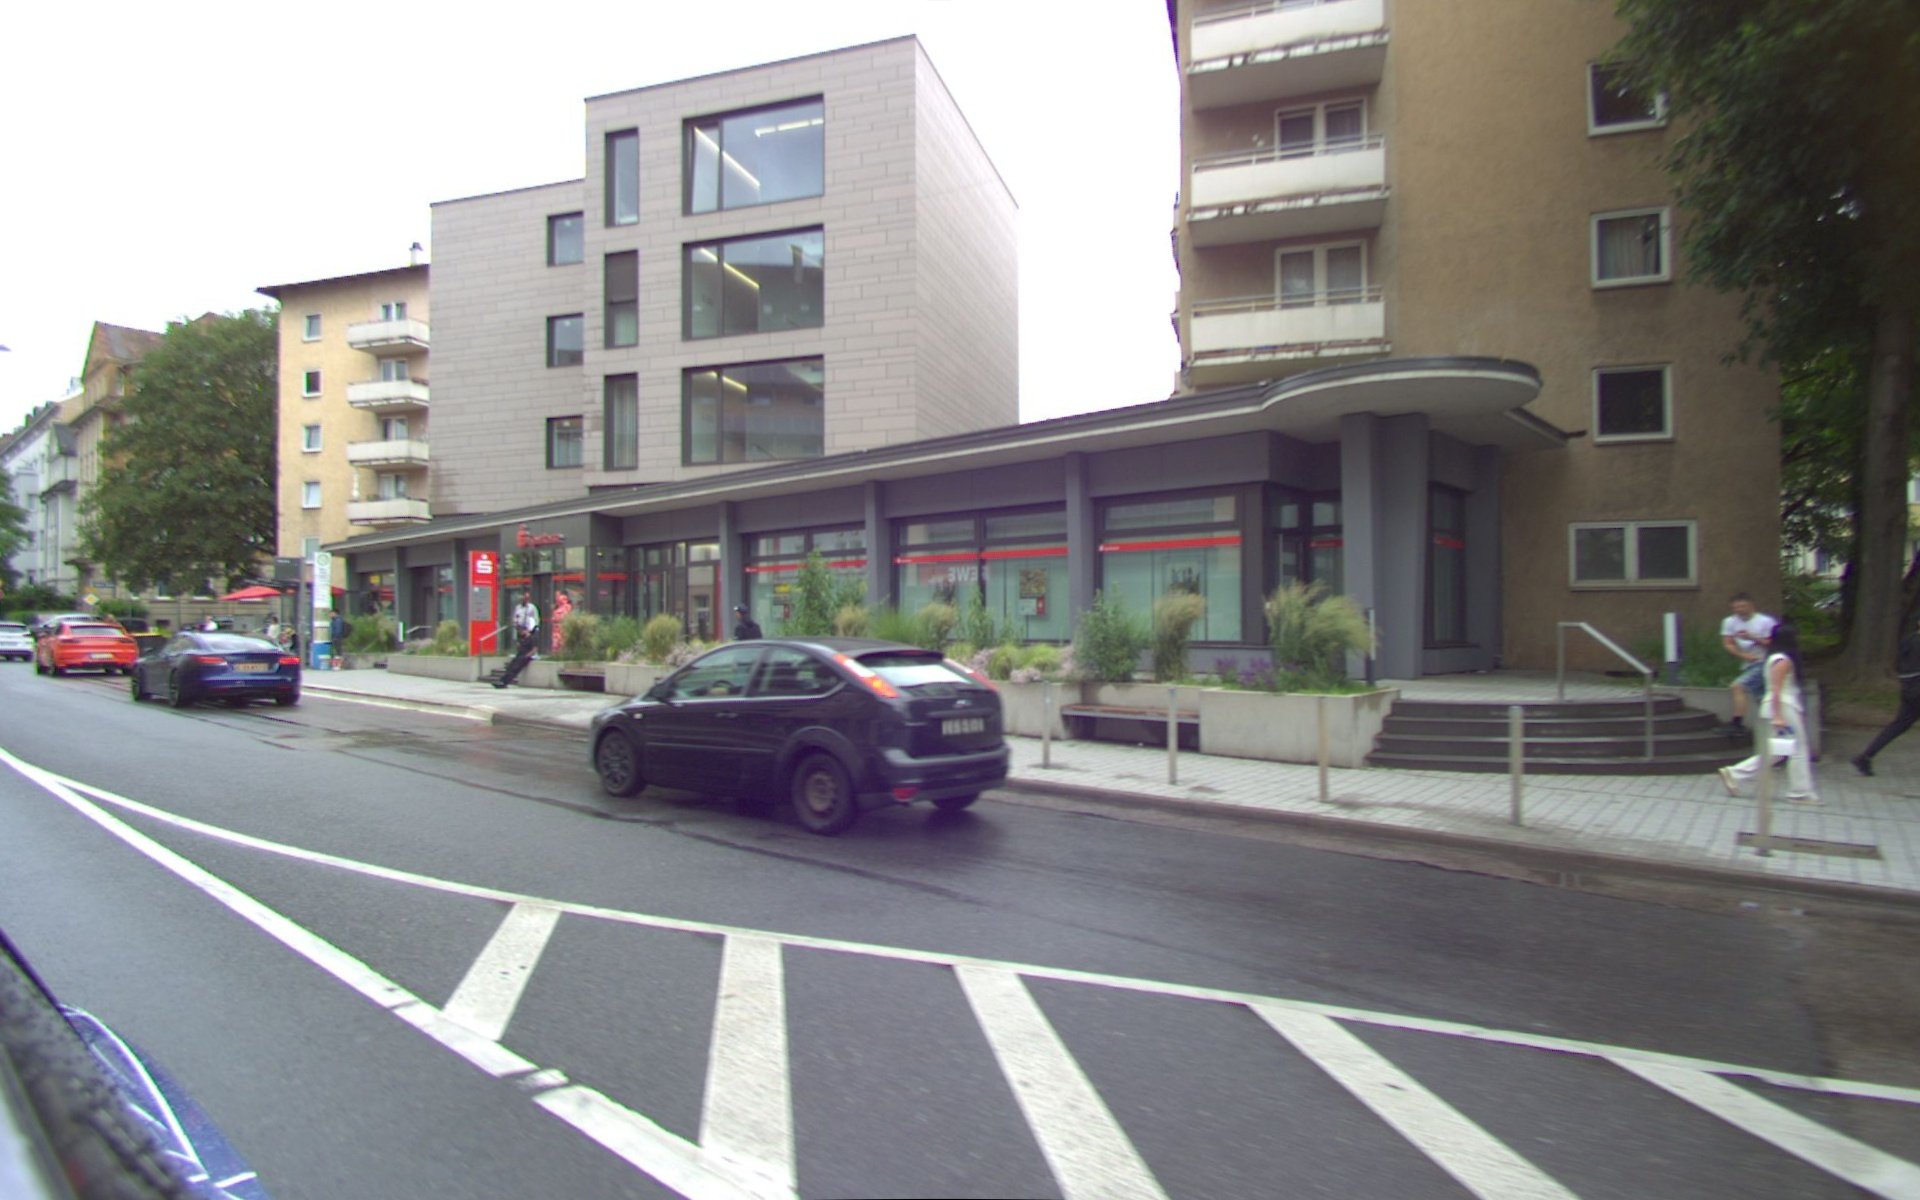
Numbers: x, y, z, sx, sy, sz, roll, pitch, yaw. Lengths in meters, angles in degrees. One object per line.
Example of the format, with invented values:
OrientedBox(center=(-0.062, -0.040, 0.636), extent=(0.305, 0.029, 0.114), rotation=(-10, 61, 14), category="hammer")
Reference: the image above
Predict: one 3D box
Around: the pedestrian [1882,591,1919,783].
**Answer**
OrientedBox(center=(9.719, 0.840, 9.956), extent=(0.690, 1.859, 0.855), rotation=(-1, -2, 26), category="pedestrian")

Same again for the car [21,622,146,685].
OrientedBox(center=(-26.977, 1.596, 31.092), extent=(5.056, 1.778, 2.084), rotation=(-2, -3, 40), category="car")

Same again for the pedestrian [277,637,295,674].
OrientedBox(center=(-20.652, 1.691, 31.009), extent=(0.386, 1.125, 0.388), rotation=(-1, -1, 40), category="pedestrian")

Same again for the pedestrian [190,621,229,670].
OrientedBox(center=(-27.168, 1.627, 36.634), extent=(0.755, 1.721, 0.789), rotation=(-2, 0, 15), category="pedestrian")

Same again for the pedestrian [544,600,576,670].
OrientedBox(center=(-9.796, 0.843, 24.782), extent=(0.701, 1.691, 0.803), rotation=(0, -1, -22), category="pedestrian")

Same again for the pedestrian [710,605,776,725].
OrientedBox(center=(-3.405, 1.004, 15.937), extent=(0.717, 1.840, 0.718), rotation=(-2, -1, 21), category="pedestrian")

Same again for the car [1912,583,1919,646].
OrientedBox(center=(31.559, 0.404, 30.885), extent=(1.982, 2.029, 3.979), rotation=(-1, -2, 16), category="car")

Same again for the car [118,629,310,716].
OrientedBox(center=(-14.820, 1.345, 20.005), extent=(4.908, 1.523, 1.935), rotation=(-1, -3, 40), category="car")

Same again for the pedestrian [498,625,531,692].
OrientedBox(center=(-9.878, 1.283, 22.457), extent=(0.582, 1.431, 0.727), rotation=(0, -1, -15), category="pedestrian")

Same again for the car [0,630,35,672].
OrientedBox(center=(-39.328, 2.035, 41.219), extent=(4.122, 1.585, 1.875), rotation=(0, -3, 40), category="car")

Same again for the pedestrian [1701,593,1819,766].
OrientedBox(center=(8.835, 0.855, 11.206), extent=(0.714, 1.840, 0.720), rotation=(-2, -1, 12), category="pedestrian")

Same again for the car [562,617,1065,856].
OrientedBox(center=(-1.395, 0.978, 8.751), extent=(4.238, 1.569, 1.936), rotation=(-2, -3, 39), category="car")

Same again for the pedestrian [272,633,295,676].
OrientedBox(center=(-20.916, 1.677, 31.277), extent=(0.549, 1.287, 0.463), rotation=(-1, -1, 40), category="pedestrian")

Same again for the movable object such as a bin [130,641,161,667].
OrientedBox(center=(-35.276, 2.344, 43.825), extent=(0.805, 1.066, 0.739), rotation=(0, 0, 15), category="movable object such as a bin")

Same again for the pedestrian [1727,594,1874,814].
OrientedBox(center=(7.087, 0.846, 8.573), extent=(0.715, 1.772, 0.653), rotation=(-1, -1, 17), category="pedestrian")

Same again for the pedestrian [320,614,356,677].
OrientedBox(center=(-18.238, 1.318, 29.662), extent=(0.867, 1.833, 0.585), rotation=(-1, -1, 32), category="pedestrian")

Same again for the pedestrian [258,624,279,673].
OrientedBox(center=(-22.175, 1.556, 32.456), extent=(0.532, 1.561, 0.433), rotation=(-1, -1, 39), category="pedestrian")

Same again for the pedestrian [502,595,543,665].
OrientedBox(center=(-10.910, 0.740, 25.247), extent=(0.713, 1.691, 0.706), rotation=(-2, -1, 40), category="pedestrian")

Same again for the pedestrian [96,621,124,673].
OrientedBox(center=(-34.082, 1.860, 40.567), extent=(0.781, 2.029, 0.695), rotation=(-1, -1, 36), category="pedestrian")
